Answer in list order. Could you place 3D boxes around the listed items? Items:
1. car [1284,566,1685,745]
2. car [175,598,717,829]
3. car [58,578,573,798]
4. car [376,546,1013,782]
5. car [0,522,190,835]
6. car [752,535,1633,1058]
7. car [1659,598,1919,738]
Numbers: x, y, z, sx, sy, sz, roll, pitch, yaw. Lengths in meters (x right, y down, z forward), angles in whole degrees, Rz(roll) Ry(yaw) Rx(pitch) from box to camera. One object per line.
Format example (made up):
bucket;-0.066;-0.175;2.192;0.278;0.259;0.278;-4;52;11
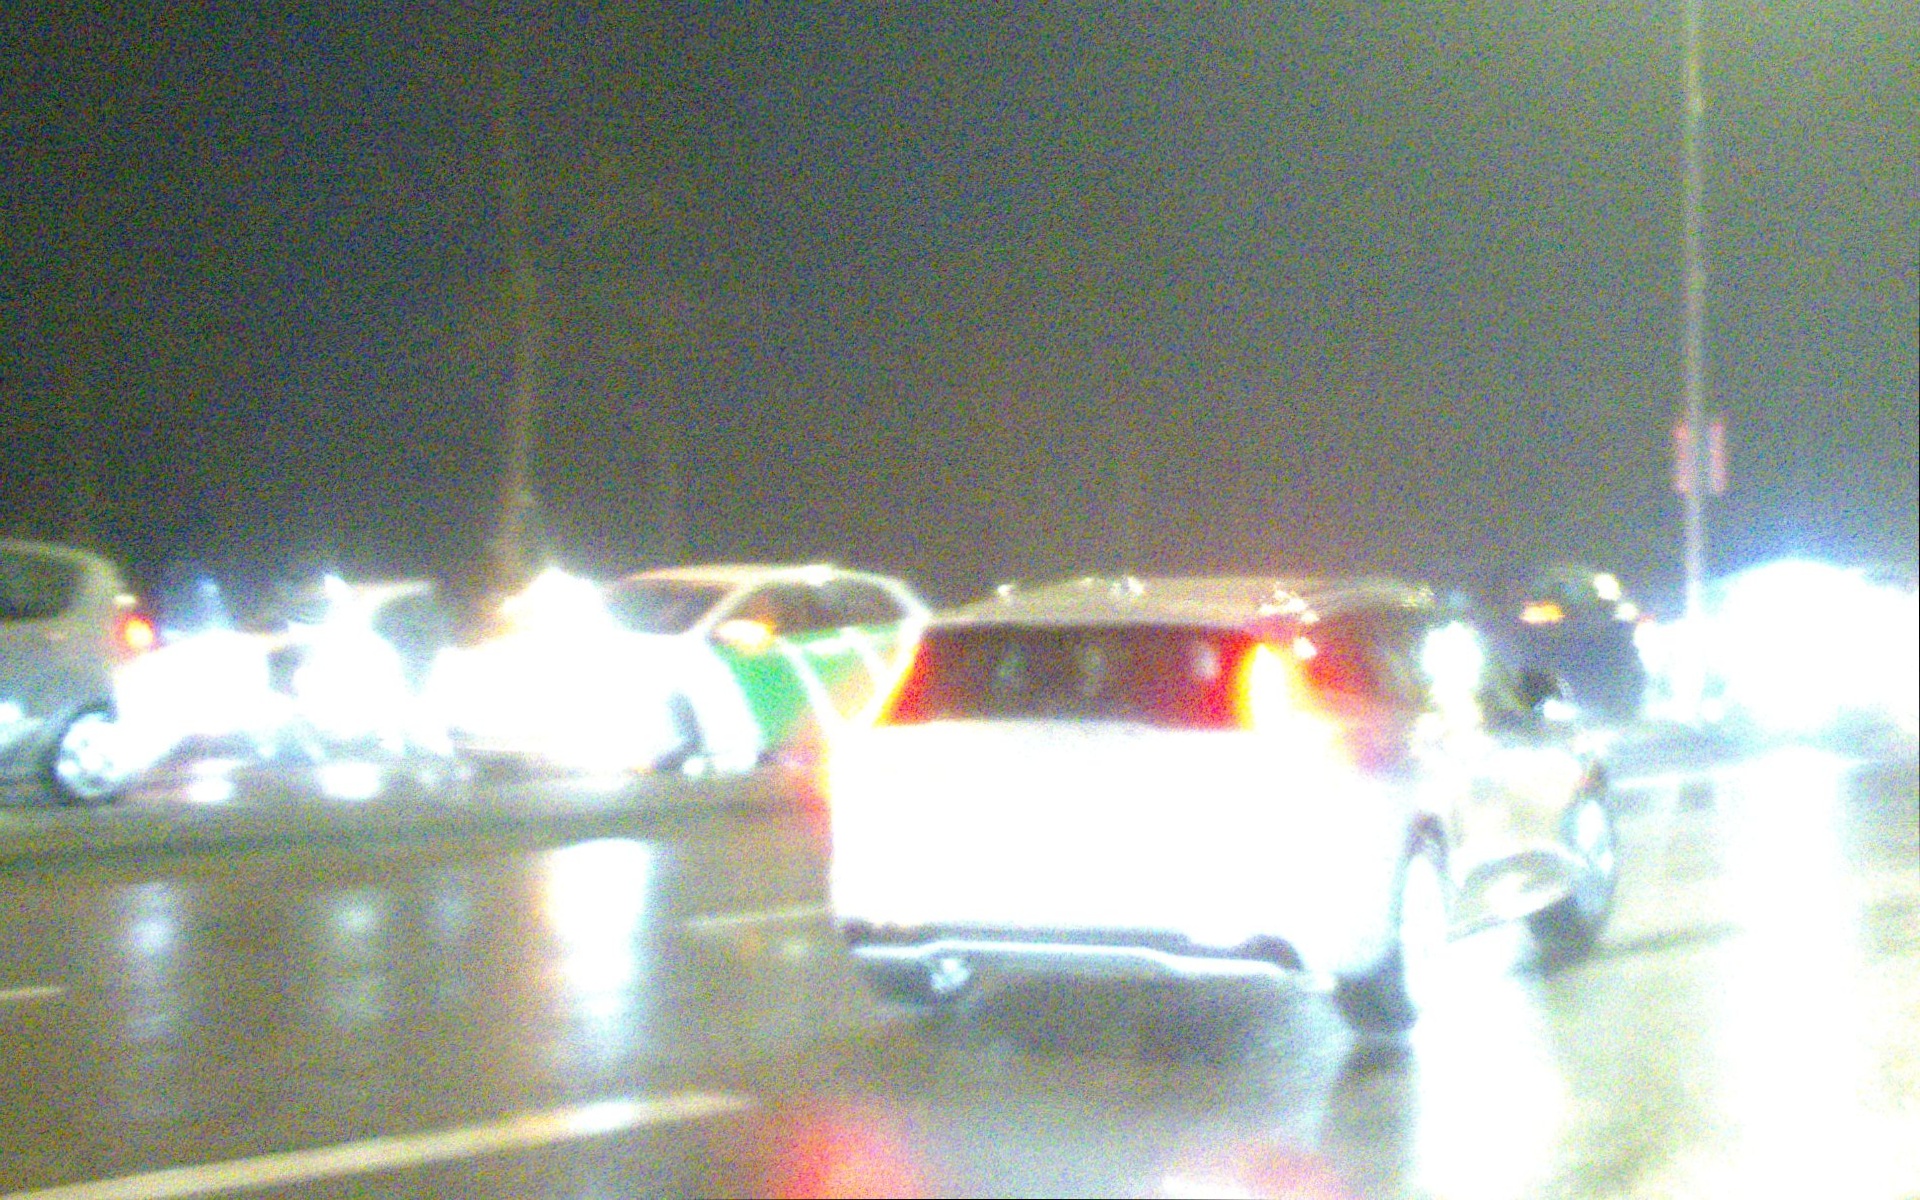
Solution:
car;5.025;0.498;32.527;1.817;1.572;4.296;-1;-1;39
car;-3.941;0.866;26.884;1.802;1.660;3.967;0;-1;40
car;-5.586;0.767;30.234;1.802;1.793;4.240;0;-1;40
car;-1.738;0.407;23.799;1.781;1.479;4.401;-1;-1;41
car;-6.391;0.420;18.918;1.764;1.719;3.892;1;1;42
car;1.023;0.557;12.032;1.798;1.447;4.263;2;0;22
car;11.040;0.904;44.745;1.803;1.660;4.476;3;0;41
